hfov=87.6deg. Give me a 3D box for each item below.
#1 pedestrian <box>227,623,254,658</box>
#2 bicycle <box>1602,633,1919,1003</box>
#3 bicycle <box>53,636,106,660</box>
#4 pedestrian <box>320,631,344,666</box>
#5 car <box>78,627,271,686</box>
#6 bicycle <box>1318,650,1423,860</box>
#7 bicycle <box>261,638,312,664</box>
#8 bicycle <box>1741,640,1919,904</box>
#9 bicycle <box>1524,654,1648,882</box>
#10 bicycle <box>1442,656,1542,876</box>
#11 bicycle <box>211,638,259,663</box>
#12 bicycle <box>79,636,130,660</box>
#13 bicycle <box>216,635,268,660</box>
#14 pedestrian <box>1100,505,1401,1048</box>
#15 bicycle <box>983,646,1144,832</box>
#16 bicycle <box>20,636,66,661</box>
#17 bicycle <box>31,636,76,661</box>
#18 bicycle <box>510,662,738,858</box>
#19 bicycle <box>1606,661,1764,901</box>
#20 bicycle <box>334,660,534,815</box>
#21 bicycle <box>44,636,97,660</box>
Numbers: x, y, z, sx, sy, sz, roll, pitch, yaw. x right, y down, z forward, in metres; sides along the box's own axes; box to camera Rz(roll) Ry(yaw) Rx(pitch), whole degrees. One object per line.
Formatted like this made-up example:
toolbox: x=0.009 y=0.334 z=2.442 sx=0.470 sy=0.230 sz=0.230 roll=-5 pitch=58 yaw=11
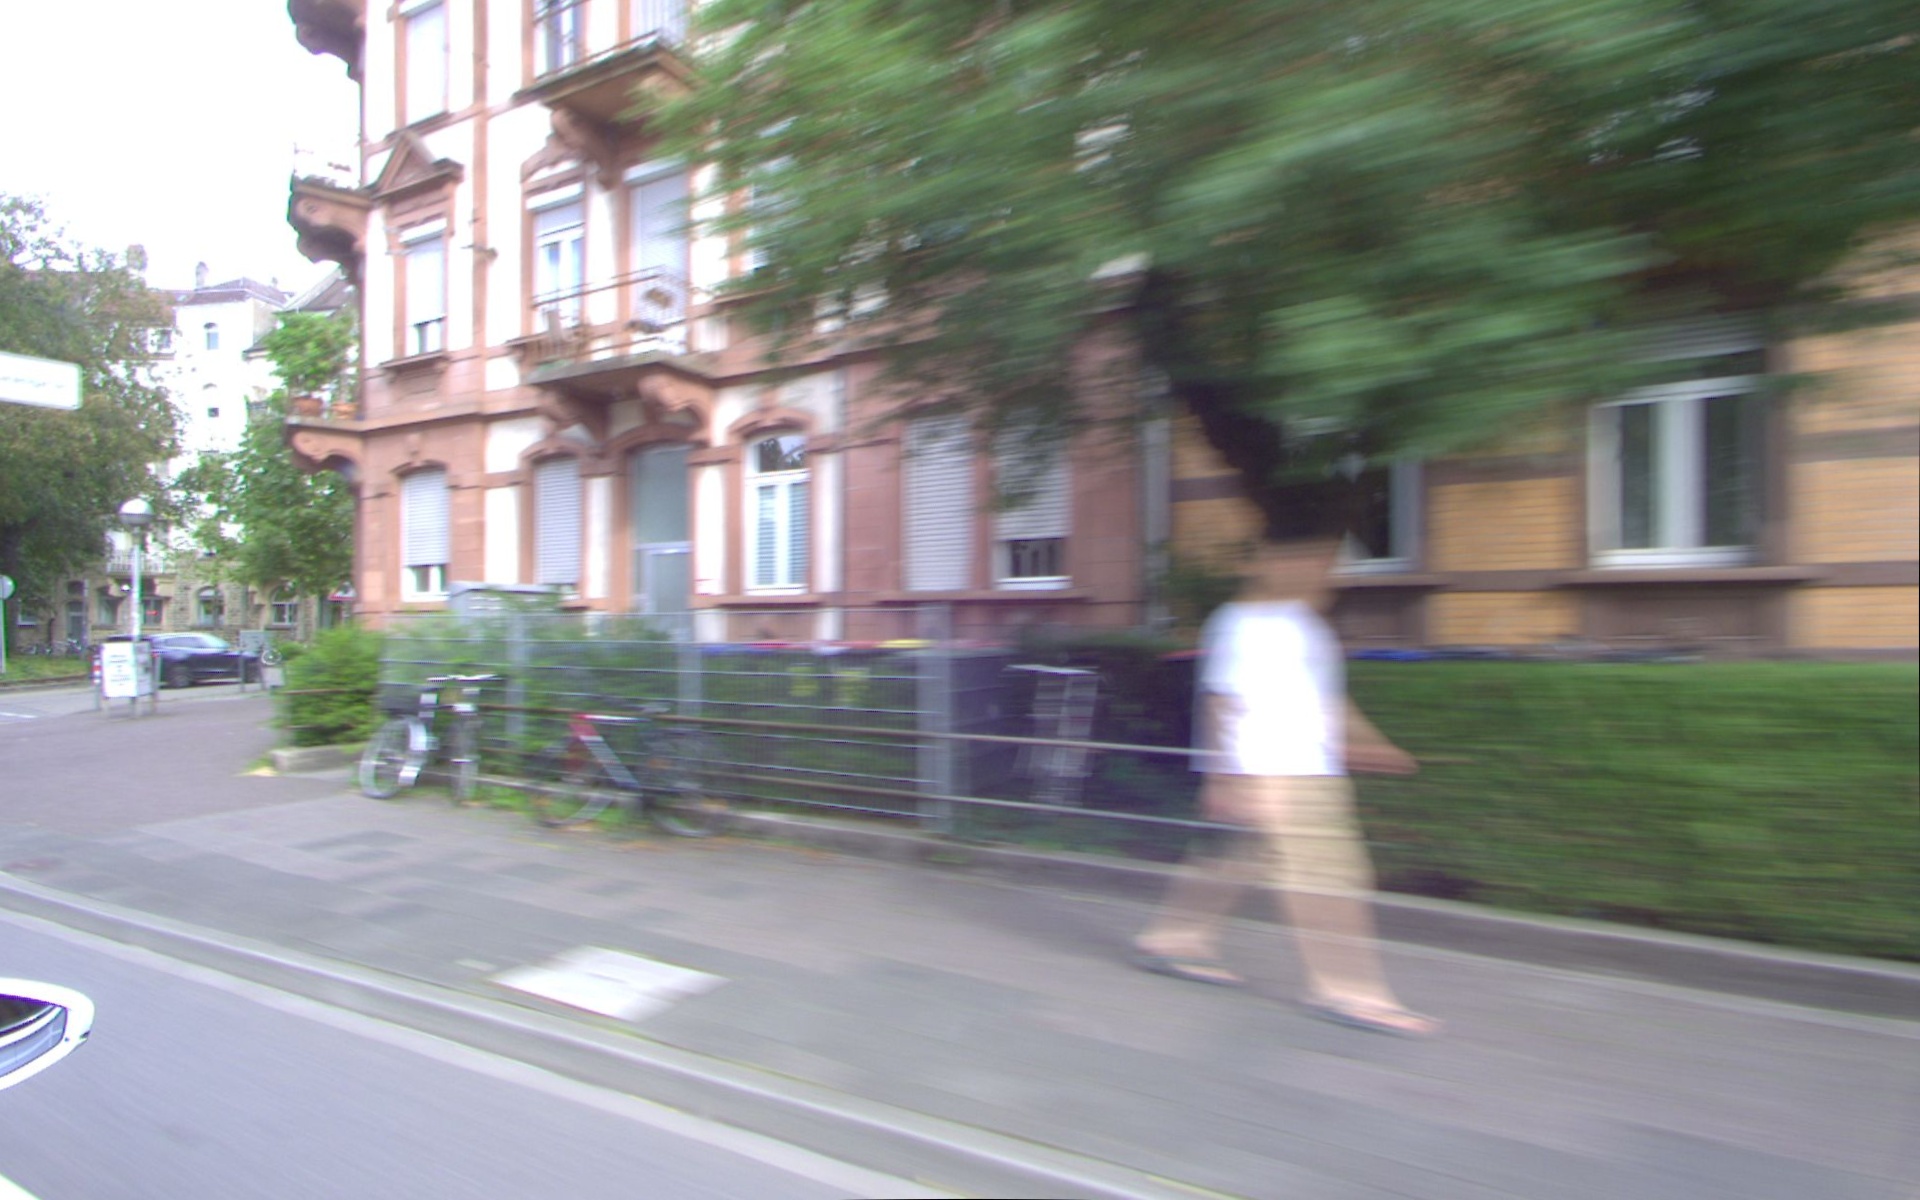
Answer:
pedestrian: x=-35.738 y=1.998 z=49.733 sx=0.821 sy=1.697 sz=0.731 roll=0 pitch=-1 yaw=22
bicycle: x=3.387 y=0.785 z=3.852 sx=1.527 sy=1.298 sz=0.515 roll=0 pitch=-1 yaw=31
bicycle: x=-42.688 y=2.313 z=48.570 sx=0.588 sy=1.142 sz=1.890 roll=0 pitch=-2 yaw=20
pedestrian: x=-29.917 y=2.309 z=47.711 sx=0.826 sy=1.644 sz=0.726 roll=1 pitch=-1 yaw=-41
car: x=-20.968 y=1.475 z=27.003 sx=1.723 sy=1.459 sz=4.481 roll=0 pitch=-2 yaw=-1
bicycle: x=2.429 y=0.822 z=5.845 sx=0.437 sy=1.021 sz=1.544 roll=0 pitch=-1 yaw=27
bicycle: x=-30.451 y=2.306 z=45.303 sx=0.525 sy=1.142 sz=1.886 roll=0 pitch=-2 yaw=30
bicycle: x=4.681 y=0.824 z=5.354 sx=0.509 sy=1.196 sz=1.544 roll=0 pitch=-1 yaw=27
bicycle: x=3.357 y=0.823 z=5.446 sx=0.437 sy=1.021 sz=1.544 roll=0 pitch=-1 yaw=27
bicycle: x=2.985 y=0.851 z=5.658 sx=0.437 sy=1.021 sz=1.544 roll=0 pitch=-1 yaw=27
bicycle: x=-33.978 y=2.346 z=46.954 sx=0.523 sy=1.142 sz=1.891 roll=0 pitch=-2 yaw=18
bicycle: x=-41.487 y=2.323 z=48.579 sx=0.571 sy=1.142 sz=1.893 roll=0 pitch=-2 yaw=12
bicycle: x=-33.257 y=2.181 z=46.419 sx=0.525 sy=1.142 sz=1.883 roll=0 pitch=-2 yaw=34
pedestrian: x=1.125 y=0.591 z=3.849 sx=0.936 sy=1.776 sz=0.729 roll=0 pitch=-1 yaw=34
bicycle: x=0.710 y=0.818 z=6.435 sx=0.502 sy=1.021 sz=1.544 roll=0 pitch=-1 yaw=27
bicycle: x=-44.609 y=2.352 z=48.722 sx=0.522 sy=1.142 sz=1.894 roll=0 pitch=-1 yaw=-1
bicycle: x=-44.068 y=2.349 z=48.714 sx=0.522 sy=1.142 sz=1.894 roll=0 pitch=0 yaw=-1
bicycle: x=-2.223 y=0.993 z=6.581 sx=1.526 sy=1.103 sz=0.508 roll=0 pitch=2 yaw=29
bicycle: x=3.758 y=0.858 z=5.276 sx=0.437 sy=1.021 sz=1.544 roll=0 pitch=-1 yaw=27
bicycle: x=-4.354 y=1.080 z=8.268 sx=1.647 sy=1.120 sz=0.670 roll=0 pitch=-1 yaw=29
bicycle: x=-43.259 y=2.316 z=48.730 sx=0.553 sy=1.142 sz=1.890 roll=0 pitch=-2 yaw=20
